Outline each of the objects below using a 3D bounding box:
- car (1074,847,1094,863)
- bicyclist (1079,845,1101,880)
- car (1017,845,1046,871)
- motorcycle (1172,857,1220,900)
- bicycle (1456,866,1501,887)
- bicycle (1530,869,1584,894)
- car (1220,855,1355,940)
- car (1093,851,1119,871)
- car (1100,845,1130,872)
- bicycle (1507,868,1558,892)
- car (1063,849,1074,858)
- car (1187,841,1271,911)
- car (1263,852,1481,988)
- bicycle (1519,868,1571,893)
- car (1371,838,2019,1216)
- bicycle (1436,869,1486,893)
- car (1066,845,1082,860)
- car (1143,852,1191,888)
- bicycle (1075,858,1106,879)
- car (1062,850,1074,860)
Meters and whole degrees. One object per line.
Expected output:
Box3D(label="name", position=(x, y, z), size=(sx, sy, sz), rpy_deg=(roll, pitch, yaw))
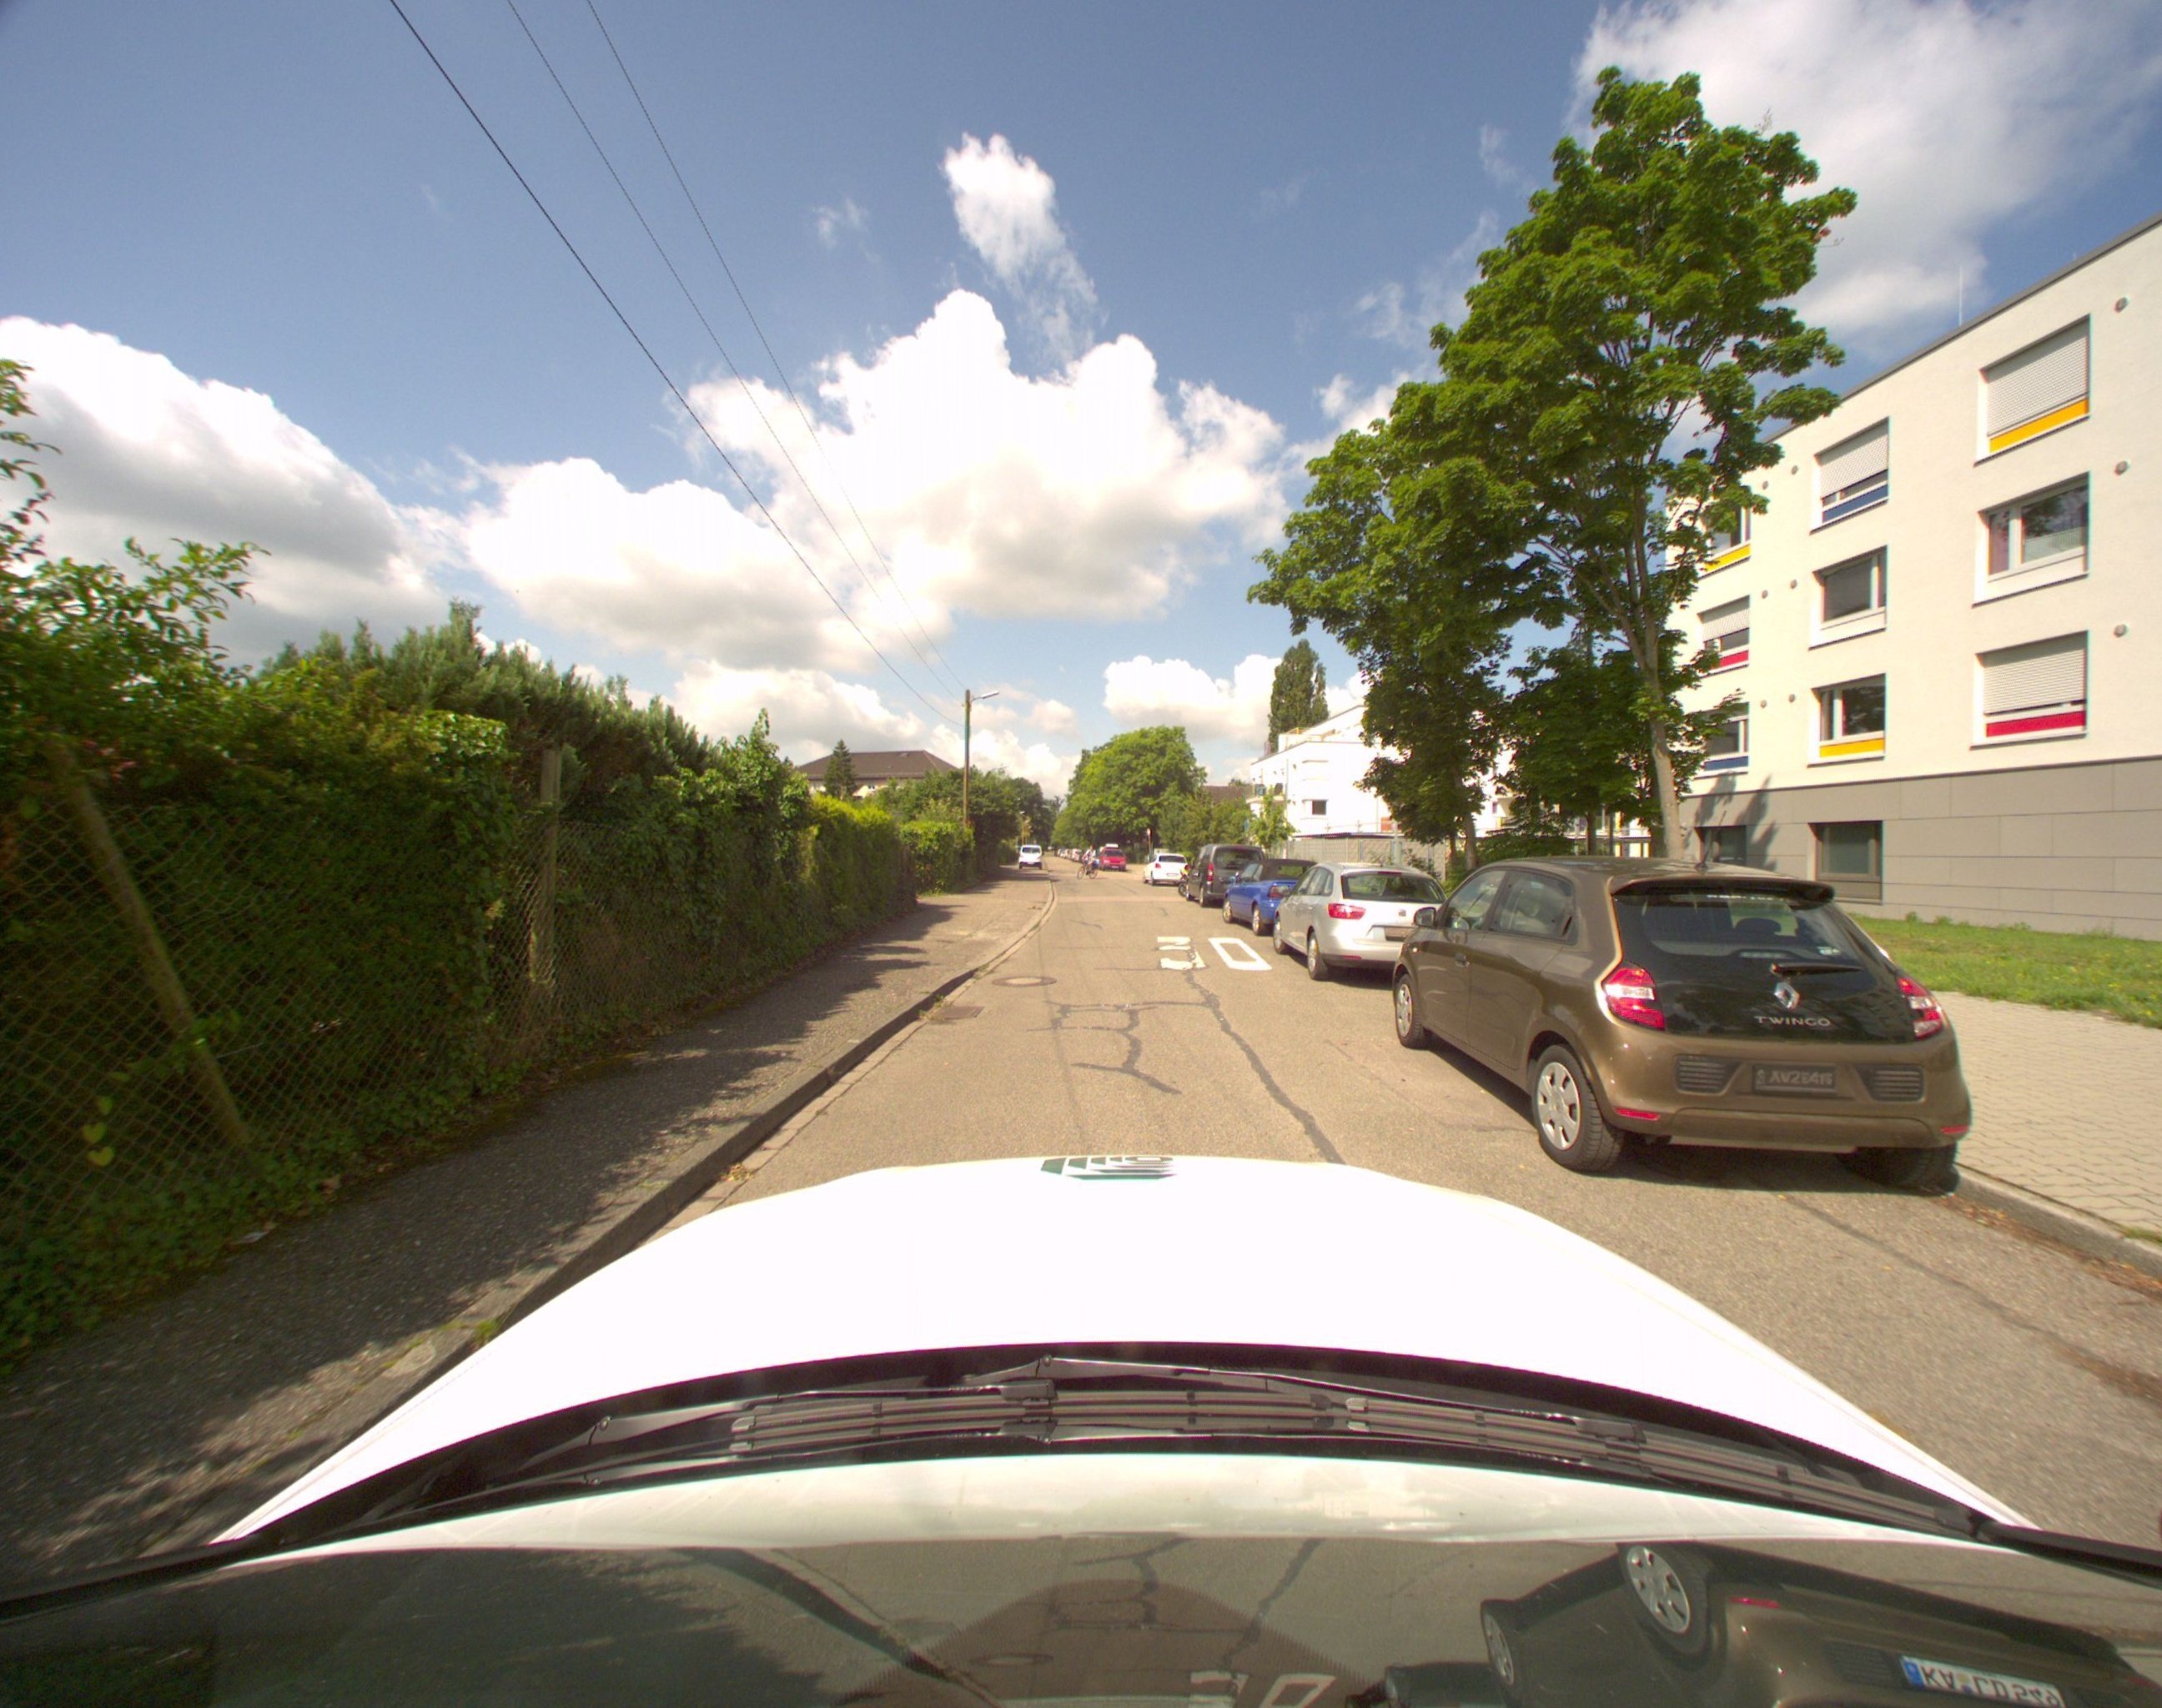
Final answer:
Box3D(label="car", position=(0.289, 0.098, 86.598), size=(2.052, 1.652, 4.540), rpy_deg=(2, 0, 0))
Box3D(label="bicyclist", position=(0.505, 0.448, 43.429), size=(0.777, 1.785, 0.899), rpy_deg=(2, 0, 29))
Box3D(label="car", position=(-3.719, 0.300, 61.945), size=(1.897, 1.814, 3.999), rpy_deg=(2, 0, 0))
Box3D(label="motorcycle", position=(3.829, 0.812, 27.090), size=(1.423, 1.362, 0.868), rpy_deg=(2, 0, -2))
Box3D(label="bicycle", position=(21.069, 1.189, 43.149), size=(2.040, 1.079, 0.688), rpy_deg=(-1, 0, 0))
Box3D(label="bicycle", position=(21.383, 1.236, 36.612), size=(2.040, 1.079, 0.688), rpy_deg=(-1, 0, 0))
Box3D(label="car", position=(3.954, 0.781, 16.160), size=(1.659, 1.435, 3.539), rpy_deg=(2, 0, -2))
Box3D(label="car", position=(2.142, 0.592, 70.069), size=(2.052, 1.652, 4.540), rpy_deg=(2, 0, 0))
Box3D(label="car", position=(2.545, 0.292, 62.341), size=(2.052, 1.926, 4.540), rpy_deg=(2, 0, 0))
Box3D(label="bicycle", position=(21.428, 1.223, 38.632), size=(2.040, 1.079, 0.688), rpy_deg=(-1, 0, 0))
Box3D(label="car", position=(-2.393, -0.029, 156.313), size=(1.845, 1.618, 4.002), rpy_deg=(2, 0, 2))
Box3D(label="car", position=(4.159, 0.580, 23.374), size=(1.867, 1.806, 3.434), rpy_deg=(2, 0, 2))
Box3D(label="car", position=(3.618, 0.721, 10.833), size=(1.657, 1.439, 3.746), rpy_deg=(2, 0, 2))
Box3D(label="bicycle", position=(21.495, 1.235, 37.755), size=(2.040, 1.079, 0.688), rpy_deg=(-1, 0, 0))
Box3D(label="car", position=(3.266, 0.730, 5.313), size=(1.656, 1.552, 3.641), rpy_deg=(2, 0, 4))
Box3D(label="bicycle", position=(17.915, 1.278, 38.393), size=(2.040, 1.079, 0.688), rpy_deg=(-1, 0, 0))
Box3D(label="car", position=(-0.991, -0.264, 112.099), size=(2.052, 1.961, 4.540), rpy_deg=(2, 0, 0))
Box3D(label="car", position=(3.819, 0.674, 36.776), size=(1.673, 1.519, 3.999), rpy_deg=(2, 0, 0))
Box3D(label="bicycle", position=(0.517, 0.772, 43.475), size=(0.850, 1.026, 1.831), rpy_deg=(2, 0, 30))
Box3D(label="car", position=(-2.242, 0.182, 141.486), size=(1.845, 1.618, 4.002), rpy_deg=(0, 0, 2))
